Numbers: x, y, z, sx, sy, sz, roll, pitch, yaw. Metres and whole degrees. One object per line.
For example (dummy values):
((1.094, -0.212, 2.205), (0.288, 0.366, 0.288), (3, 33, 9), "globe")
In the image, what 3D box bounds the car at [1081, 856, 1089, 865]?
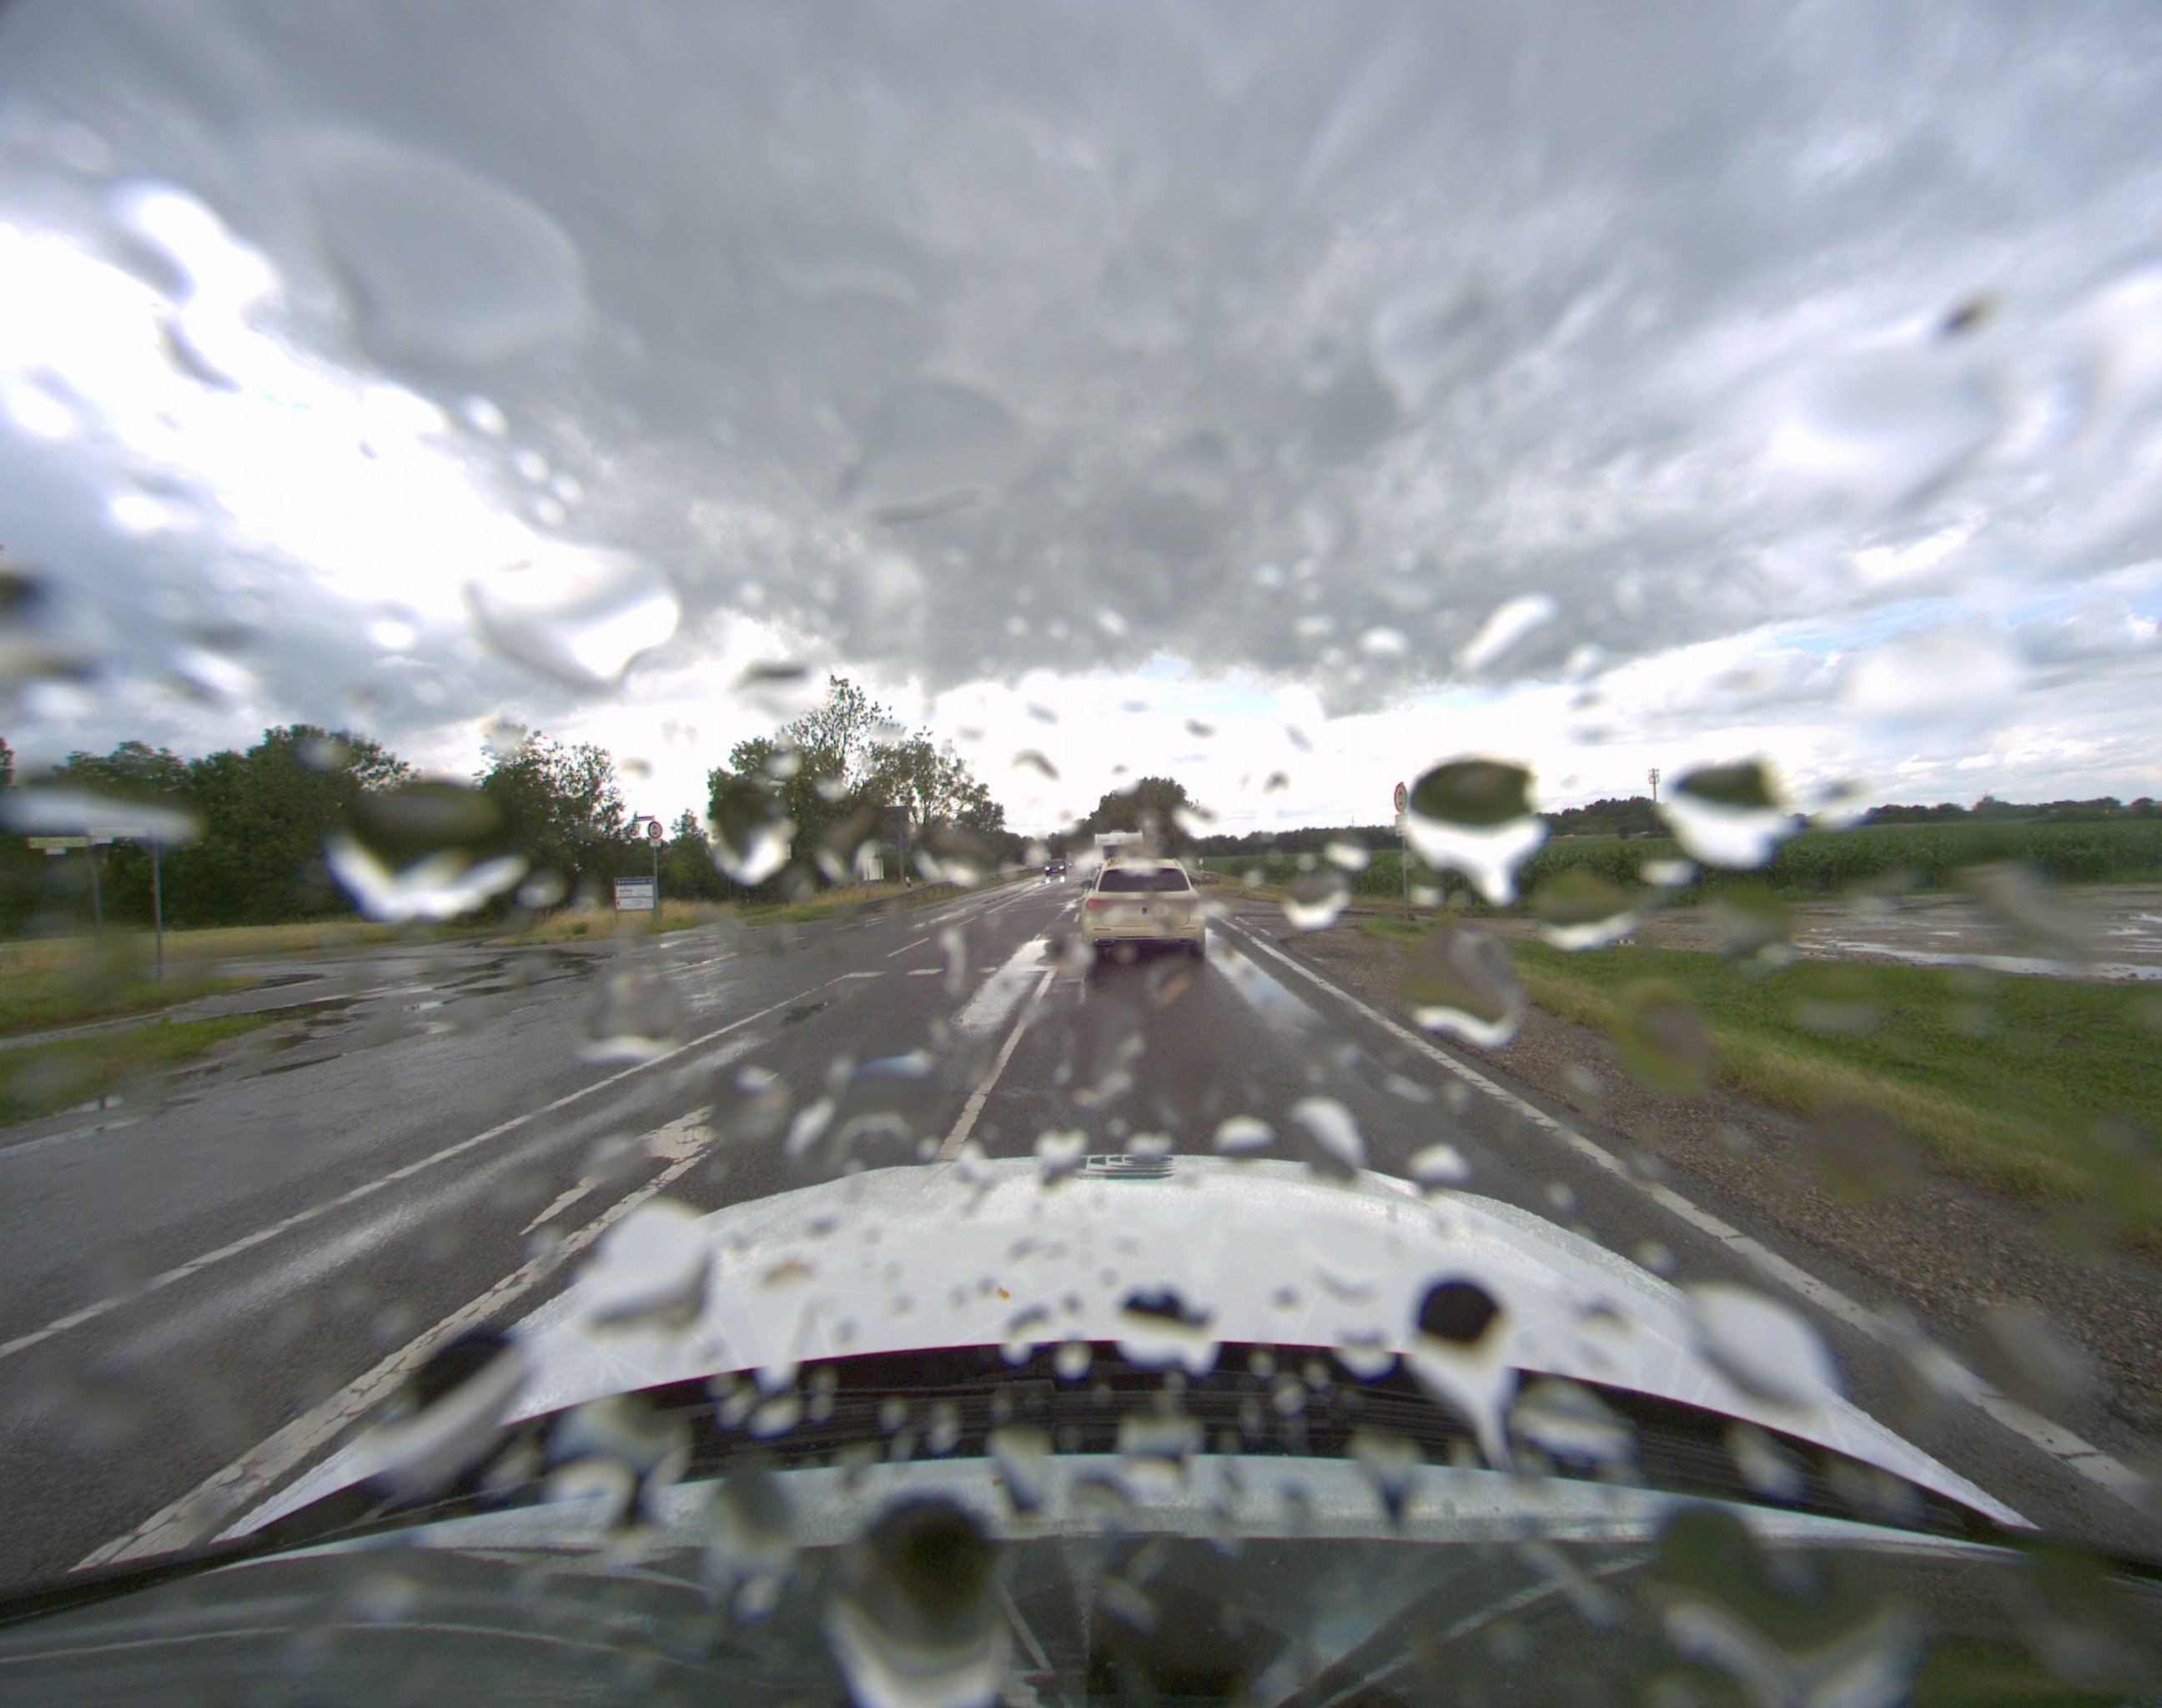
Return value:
((0.951, 1.487, 191.432), (1.733, 1.860, 3.786), (-2, 0, 2), "car")

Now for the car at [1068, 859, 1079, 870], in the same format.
((-1.130, 1.626, 131.232), (1.574, 1.640, 3.442), (-2, 0, 1), "car")

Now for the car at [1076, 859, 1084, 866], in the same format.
((-0.245, 2.127, 200.510), (1.744, 1.662, 3.670), (-2, 0, -2), "car")

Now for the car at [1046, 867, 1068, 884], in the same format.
((-2.306, 2.016, 77.907), (1.821, 1.574, 4.002), (0, -1, 2), "car")

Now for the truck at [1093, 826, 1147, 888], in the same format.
((1.915, 0.151, 41.193), (2.354, 2.729, 7.317), (-2, 0, 2), "truck")

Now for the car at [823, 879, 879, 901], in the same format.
((-18.068, 2.804, 64.099), (2.286, 1.547, 4.648), (0, -1, 13), "car")

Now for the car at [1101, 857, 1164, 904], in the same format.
((1.687, 0.870, 27.835), (1.986, 1.462, 4.001), (1, -1, 2), "car")

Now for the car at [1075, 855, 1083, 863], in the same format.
((-0.567, 1.326, 209.426), (1.890, 1.895, 3.841), (-2, -1, -1), "car")

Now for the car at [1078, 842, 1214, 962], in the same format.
((0.962, 0.673, 13.176), (1.836, 1.618, 4.001), (-1, 0, 2), "car")

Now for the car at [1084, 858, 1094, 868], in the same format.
((1.601, 1.749, 160.543), (1.872, 1.761, 3.835), (-2, 0, 2), "car")

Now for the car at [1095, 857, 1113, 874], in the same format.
((2.755, 1.357, 96.575), (1.907, 1.841, 3.799), (-2, 0, 4), "car")

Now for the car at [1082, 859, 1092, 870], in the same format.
((1.269, 2.186, 169.321), (1.845, 2.013, 3.812), (-2, 0, 2), "car")
